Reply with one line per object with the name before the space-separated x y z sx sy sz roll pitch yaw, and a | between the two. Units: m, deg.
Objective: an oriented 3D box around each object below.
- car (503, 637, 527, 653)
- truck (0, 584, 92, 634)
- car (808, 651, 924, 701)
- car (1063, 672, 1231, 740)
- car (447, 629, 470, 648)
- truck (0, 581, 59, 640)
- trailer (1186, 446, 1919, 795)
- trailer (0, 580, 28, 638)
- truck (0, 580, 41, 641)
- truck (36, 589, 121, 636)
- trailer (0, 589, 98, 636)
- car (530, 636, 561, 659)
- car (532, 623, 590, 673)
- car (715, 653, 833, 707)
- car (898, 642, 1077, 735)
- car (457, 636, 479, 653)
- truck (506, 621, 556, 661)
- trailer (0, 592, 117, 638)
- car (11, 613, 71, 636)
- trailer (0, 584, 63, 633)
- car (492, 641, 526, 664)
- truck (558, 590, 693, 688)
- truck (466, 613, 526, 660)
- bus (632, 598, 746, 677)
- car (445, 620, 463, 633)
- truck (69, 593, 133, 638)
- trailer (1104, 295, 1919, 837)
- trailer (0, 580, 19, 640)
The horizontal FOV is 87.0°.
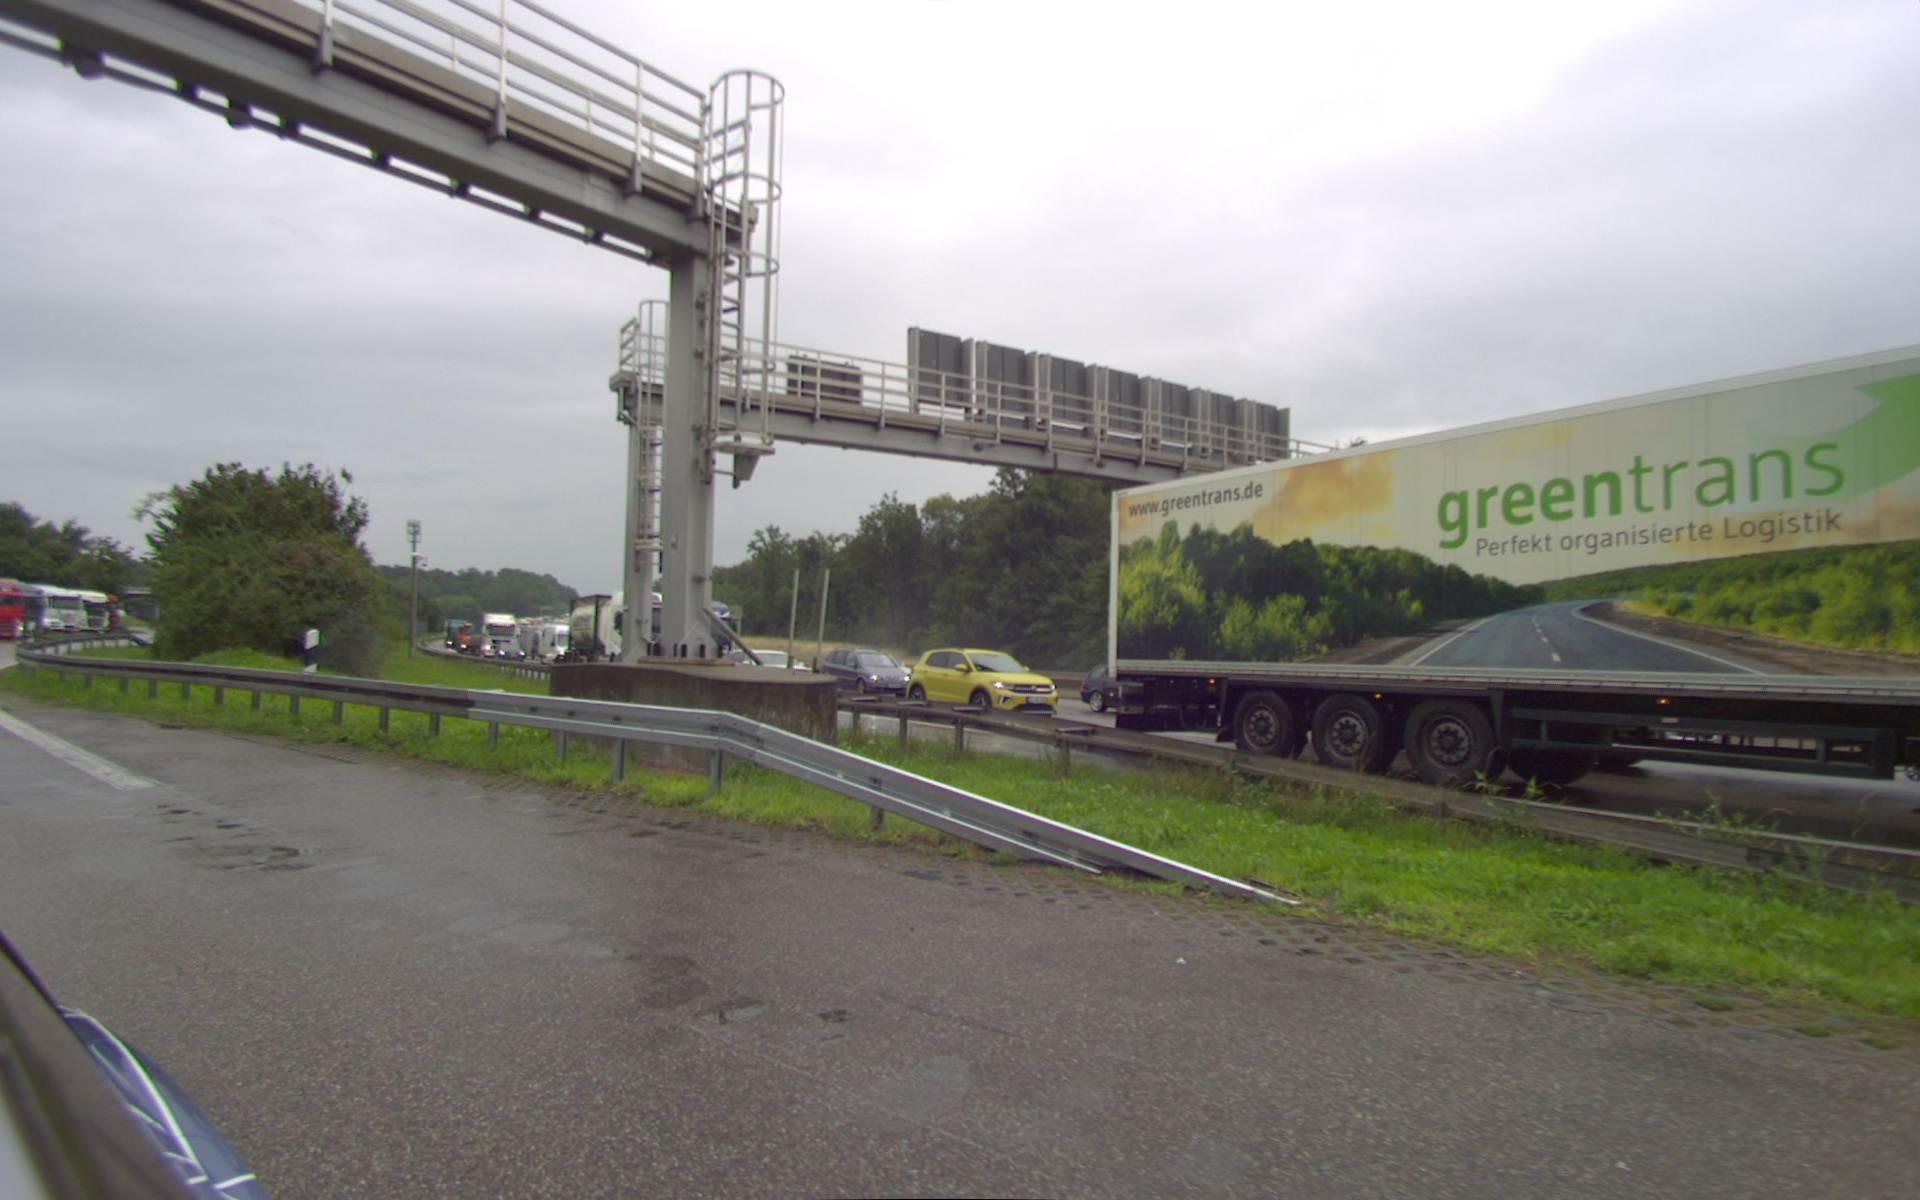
car | -49.949 5.025 113.464 1.792 1.675 3.998 3 -3 -33
truck | -81.995 0.782 89.734 7.852 4.122 3.235 1 -3 11
car | -3.328 2.585 34.927 1.901 1.534 4.774 3 -4 -34
car | 5.064 2.852 27.995 1.966 1.542 4.552 3 -3 -33
car | -58.867 4.499 118.697 1.966 2.179 4.456 2 -3 -31
truck | -67.122 0.674 70.587 6.485 3.949 2.890 1 -3 11
trailer | 9.494 0.426 15.301 2.592 3.894 13.709 4 -4 -35
trailer | -73.369 0.458 71.786 13.785 3.949 2.867 1 -3 11
truck | -64.304 0.646 66.503 4.967 3.949 3.235 1 -3 10
truck | -85.408 1.207 98.079 5.750 4.420 3.235 1 -2 10
trailer | -92.180 1.205 99.342 14.240 4.420 3.235 1 -2 11
car | -37.611 4.273 91.785 1.707 2.029 4.010 3 -3 -34
car | -23.822 2.759 60.178 2.329 2.663 6.918 -1 0 -29
car | -6.002 2.484 32.206 1.901 1.534 4.774 3 -4 -34
car | 0.501 1.846 22.232 1.769 1.807 4.250 3 -3 -34
car | -54.066 4.898 111.185 1.788 1.770 4.699 1 -2 -31
truck | -42.804 3.984 100.785 2.992 3.704 9.462 -1 0 -32
trailer | -93.525 1.548 104.341 12.694 4.420 2.534 1 -2 11
car | -77.853 2.048 85.754 3.960 1.872 1.841 1 -2 13
trailer | -87.860 0.648 90.852 13.387 4.122 3.235 1 -3 11
car | -35.343 4.078 79.243 1.789 1.697 4.011 1 -2 -33
truck | -16.451 1.715 48.871 3.301 4.101 12.609 -1 0 -32
truck | -41.864 3.174 91.052 3.480 3.877 9.461 -1 0 -33
bus | -14.674 1.859 54.022 2.855 3.797 10.459 -1 0 -32
car | -73.812 3.875 147.562 1.789 1.770 4.699 1 -2 -32
truck | -87.608 1.577 103.237 4.578 4.420 2.598 1 -2 10
trailer | 7.227 -0.146 10.910 2.879 4.237 13.672 3 -3 -33
trailer | -70.864 0.441 67.749 14.671 3.949 3.235 1 -3 11
